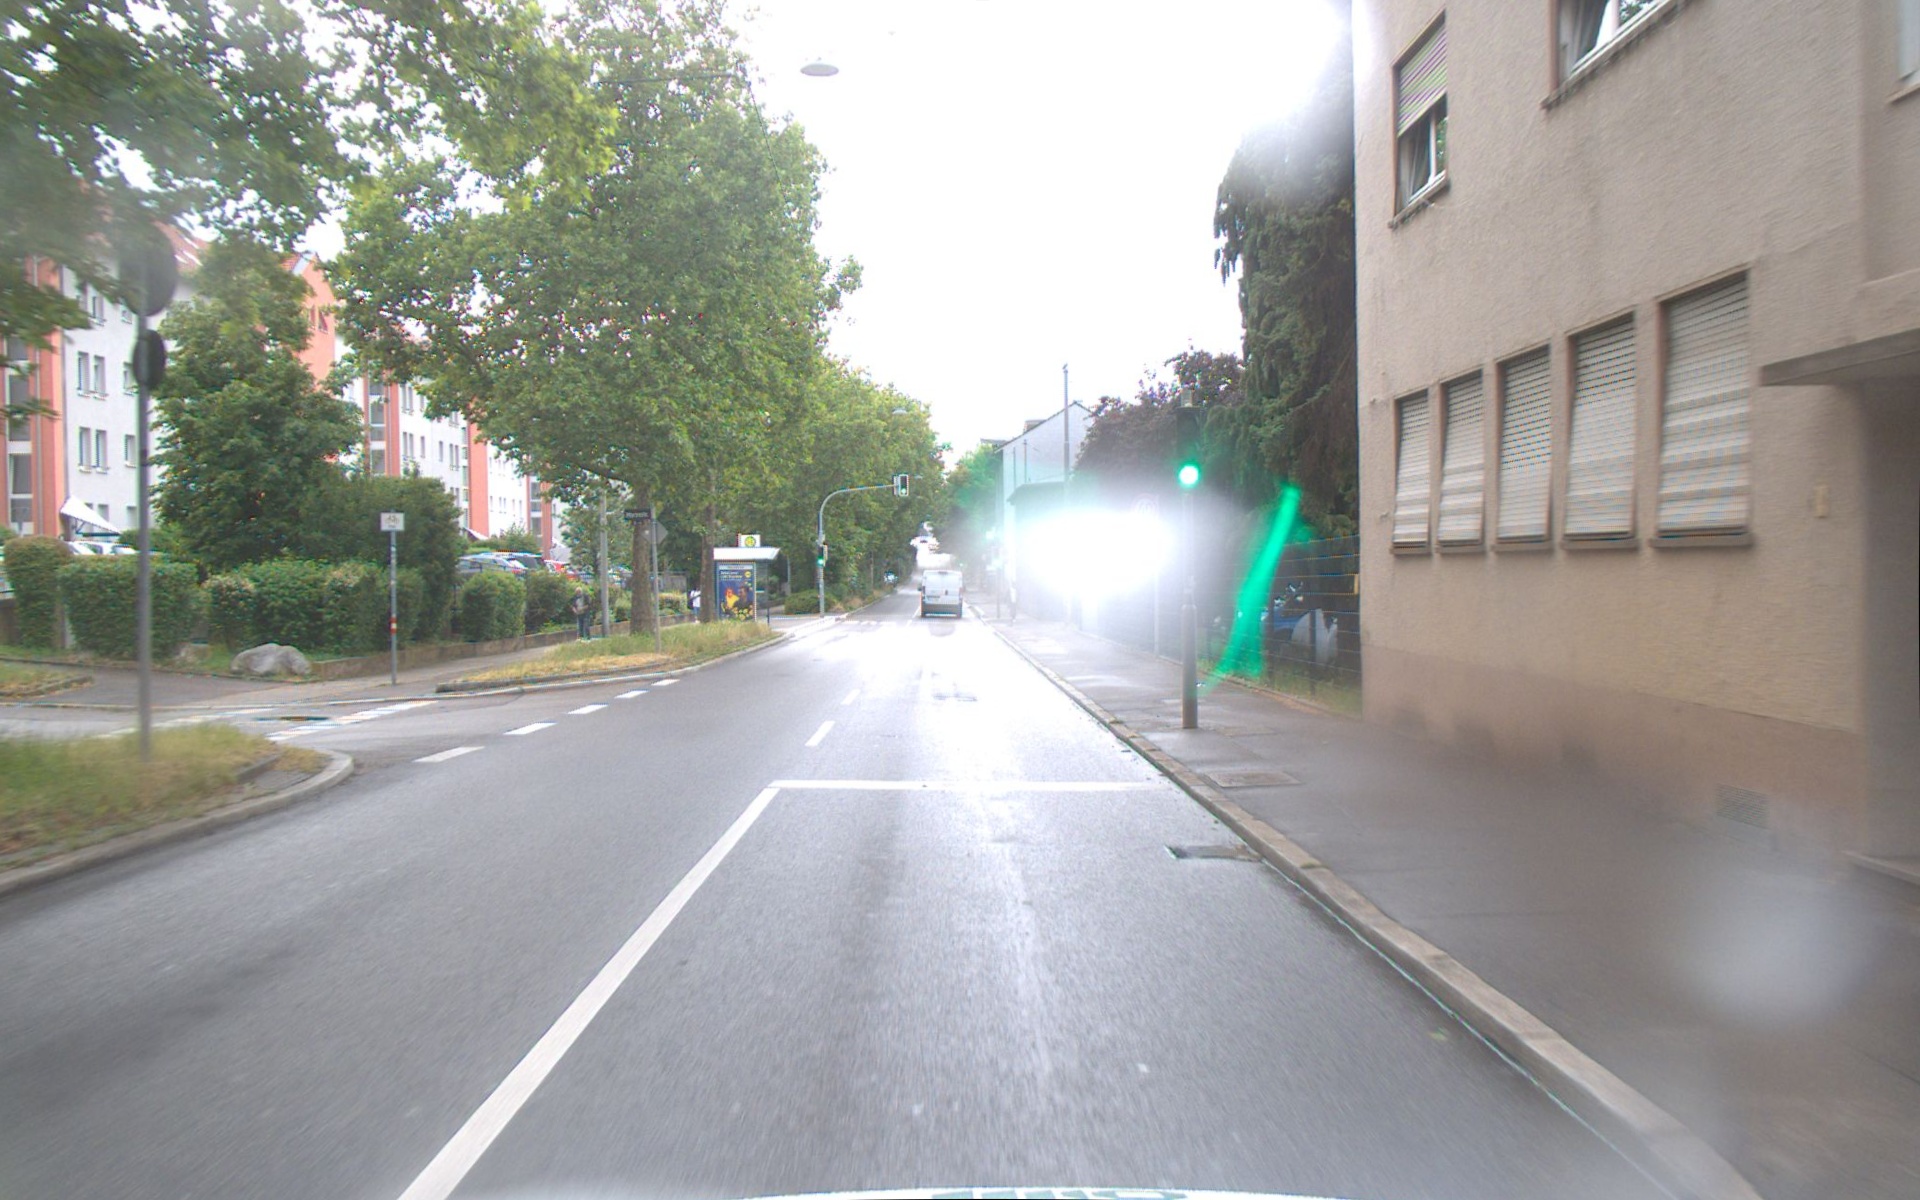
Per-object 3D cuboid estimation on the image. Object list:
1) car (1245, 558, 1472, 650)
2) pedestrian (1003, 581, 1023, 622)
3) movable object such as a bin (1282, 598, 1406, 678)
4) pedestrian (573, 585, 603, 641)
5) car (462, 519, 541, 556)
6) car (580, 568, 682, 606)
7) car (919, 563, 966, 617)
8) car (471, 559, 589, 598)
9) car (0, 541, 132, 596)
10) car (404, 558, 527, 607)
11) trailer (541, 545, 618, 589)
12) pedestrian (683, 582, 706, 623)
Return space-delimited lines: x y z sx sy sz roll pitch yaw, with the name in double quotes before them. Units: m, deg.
"car" 10.440 0.100 43.574 5.455 2.249 1.999 1 0 -3
"pedestrian" 2.261 0.057 70.448 0.728 1.734 0.900 1 -1 -6
"movable object such as a bin" 6.940 0.662 30.139 1.343 1.343 2.856 1 1 -6
"pedestrian" -11.182 0.400 49.702 0.740 1.639 0.834 1 -1 -5
"car" -23.009 -3.117 83.059 3.747 1.630 1.711 1 -1 -15
"car" -15.562 -0.599 78.442 4.453 1.701 1.999 1 -1 -2
"car" -0.848 -0.464 81.168 2.236 2.597 3.999 0 -1 -1
"car" -16.255 -0.803 62.662 4.005 1.325 1.809 1 -1 -1
"car" -25.804 -0.884 46.690 3.904 1.439 1.849 1 -1 1
"car" -16.527 -0.580 55.389 3.581 1.524 1.896 1 -1 -5
"trailer" -14.885 -1.290 64.820 2.649 1.674 1.480 1 0 0
"pedestrian" -10.831 0.119 67.552 0.726 1.626 0.606 -4 -1 2
